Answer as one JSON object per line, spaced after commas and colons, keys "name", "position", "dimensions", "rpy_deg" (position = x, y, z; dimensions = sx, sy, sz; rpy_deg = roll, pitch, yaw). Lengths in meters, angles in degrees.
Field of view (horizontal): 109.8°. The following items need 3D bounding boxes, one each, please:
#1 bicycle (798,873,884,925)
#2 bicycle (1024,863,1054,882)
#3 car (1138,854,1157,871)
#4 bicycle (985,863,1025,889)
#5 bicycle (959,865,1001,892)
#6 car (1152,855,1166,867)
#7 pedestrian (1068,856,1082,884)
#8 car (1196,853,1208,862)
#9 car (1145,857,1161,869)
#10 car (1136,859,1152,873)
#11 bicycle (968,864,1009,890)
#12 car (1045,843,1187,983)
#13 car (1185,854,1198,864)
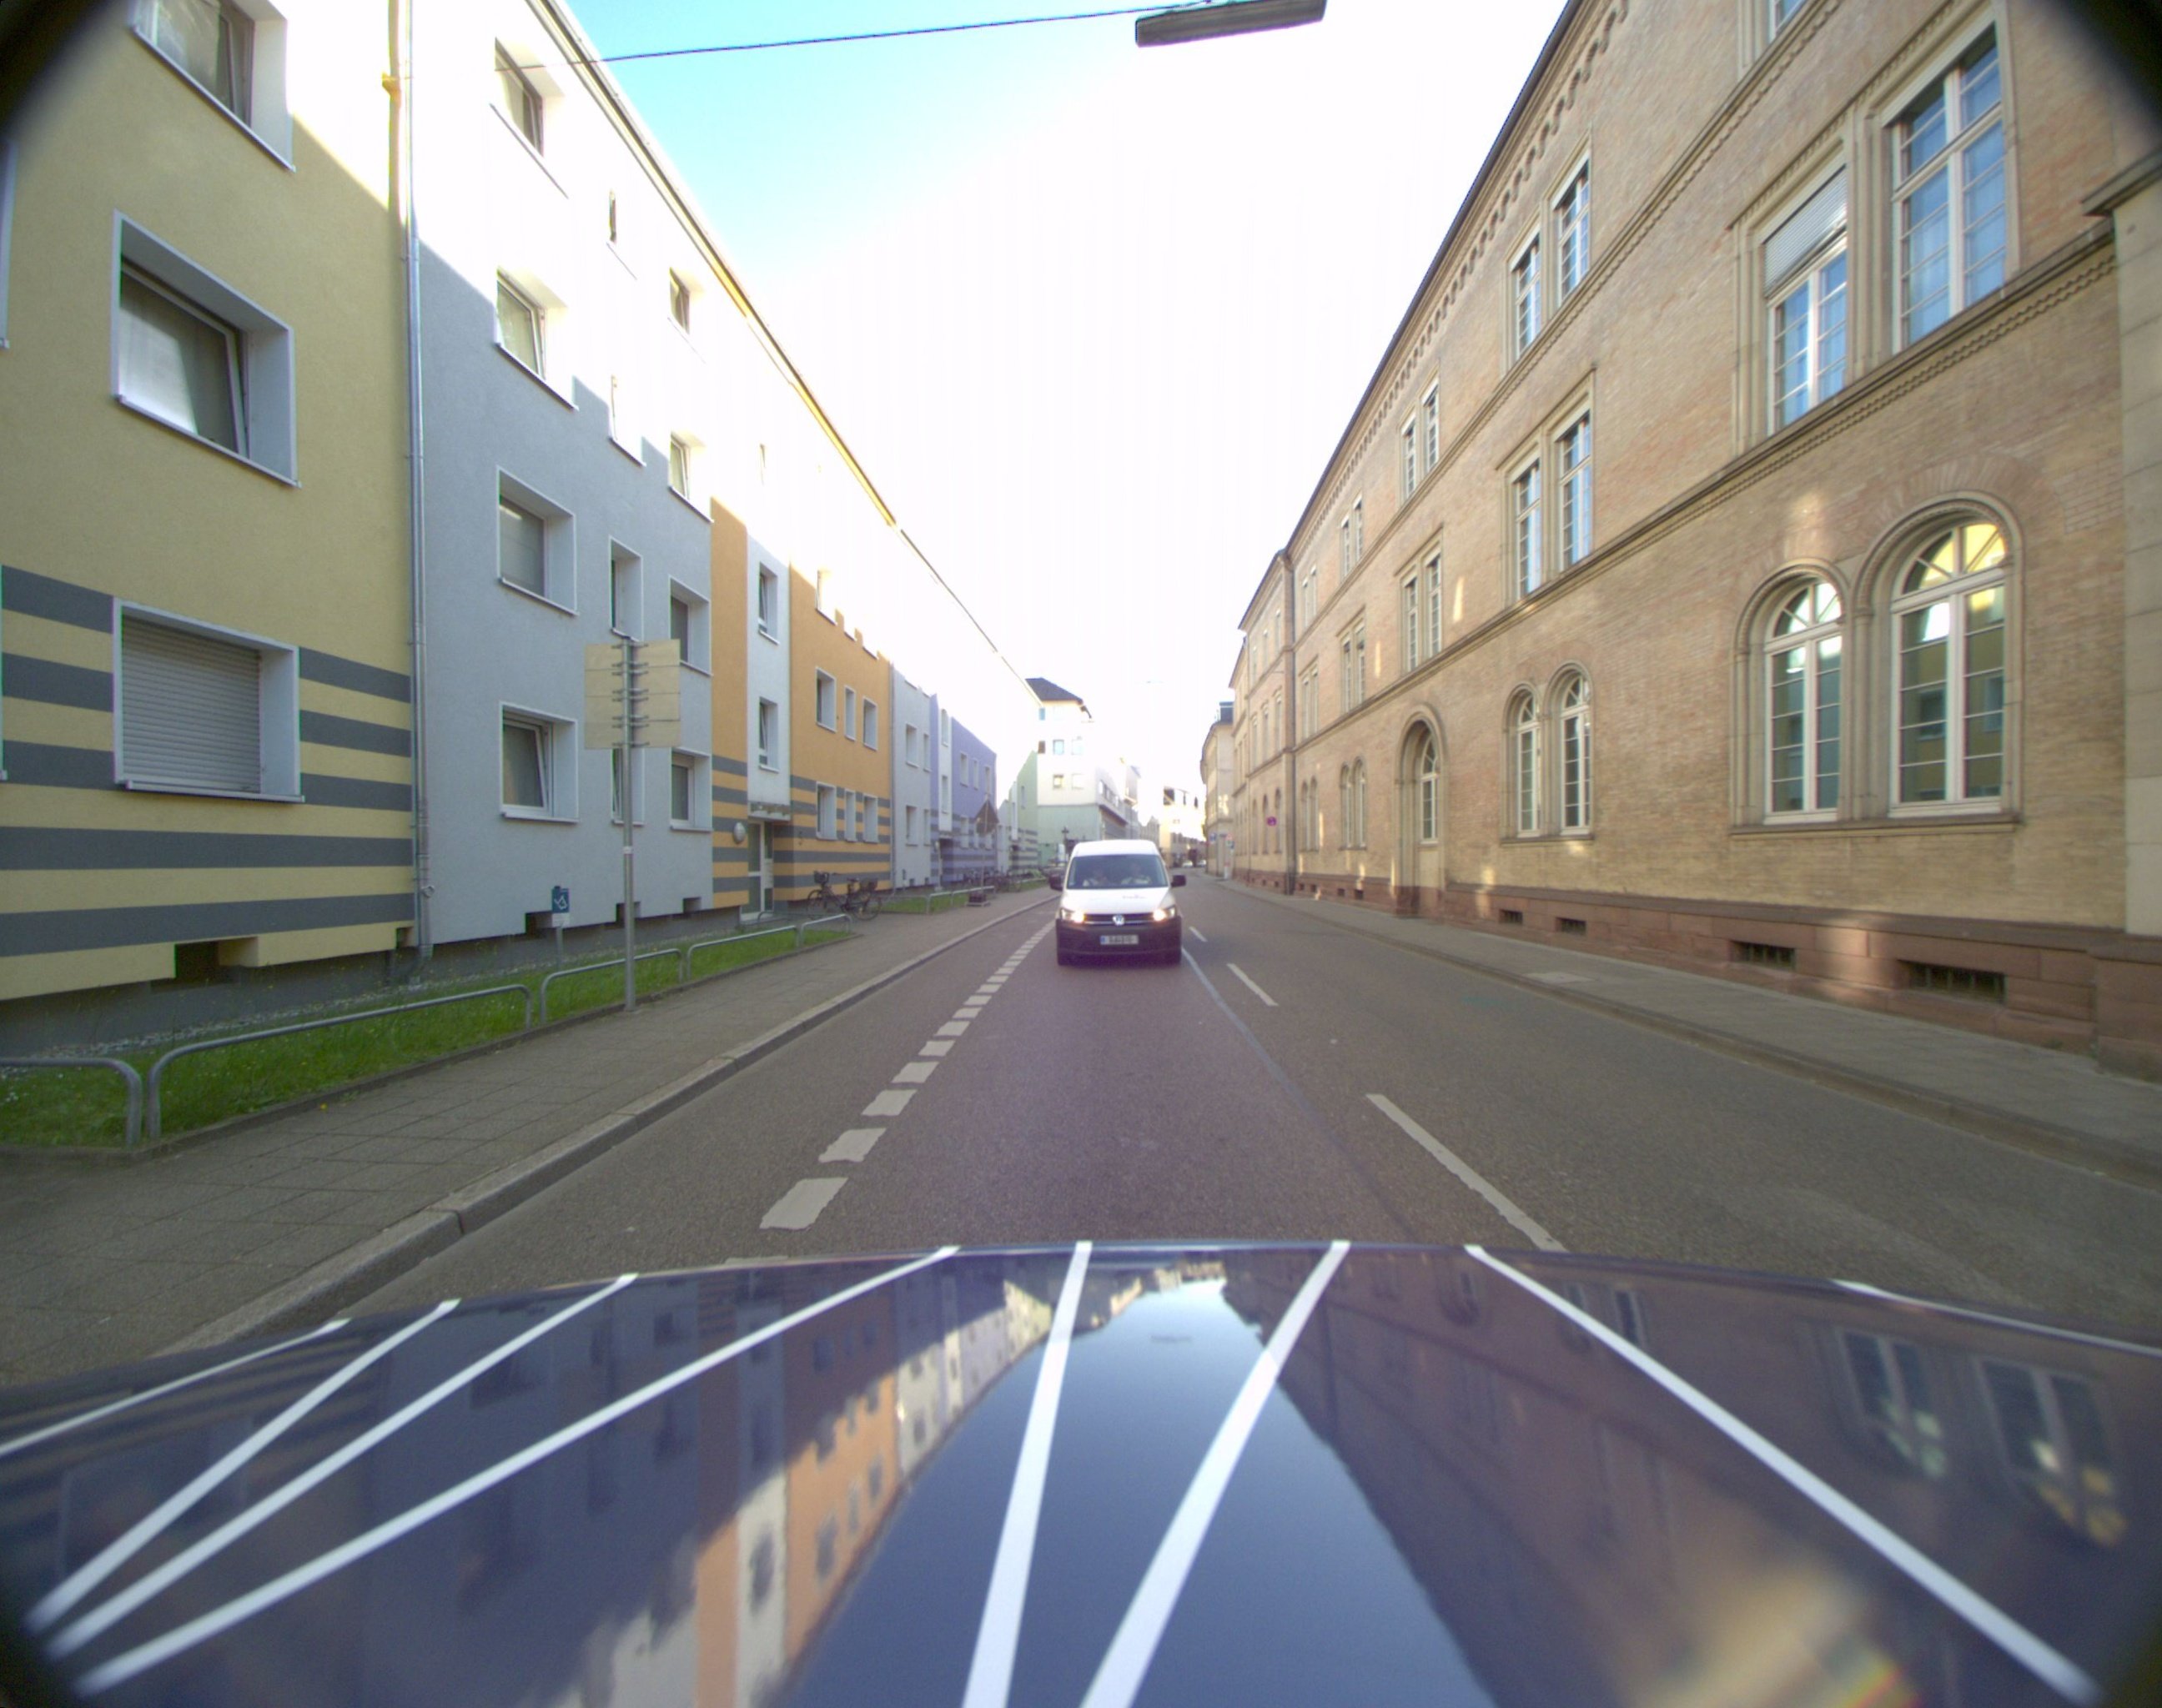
{"name": "bicycle", "position": [-5.384, 0.998, 17.120], "dimensions": [1.780, 1.116, 0.484], "rpy_deg": [0, 0, -5]}
{"name": "bicycle", "position": [-2.514, 1.123, 46.067], "dimensions": [1.779, 1.145, 0.484], "rpy_deg": [0, 0, 0]}
{"name": "car", "position": [9.417, 1.180, 107.103], "dimensions": [2.103, 2.264, 5.506], "rpy_deg": [-2, 1, 11]}
{"name": "bicycle", "position": [-3.371, 0.979, 33.695], "dimensions": [1.676, 1.145, 0.484], "rpy_deg": [0, 0, 4]}
{"name": "bicycle", "position": [-4.234, 1.024, 31.856], "dimensions": [1.676, 1.145, 0.484], "rpy_deg": [0, 0, 4]}
{"name": "car", "position": [12.651, 1.121, 122.714], "dimensions": [1.997, 1.643, 4.231], "rpy_deg": [-2, 1, 9]}
{"name": "pedestrian", "position": [-0.340, 0.938, 45.656], "dimensions": [0.705, 1.627, 0.833], "rpy_deg": [2, 2, 5]}
{"name": "car", "position": [26.097, 0.706, 163.766], "dimensions": [1.996, 1.643, 4.233], "rpy_deg": [-2, 1, 17]}
{"name": "car", "position": [10.681, 1.369, 113.016], "dimensions": [1.997, 1.643, 4.231], "rpy_deg": [-2, 1, 10]}
{"name": "car", "position": [8.382, 1.542, 100.968], "dimensions": [1.998, 1.643, 4.230], "rpy_deg": [-2, 1, 6]}
{"name": "bicycle", "position": [-4.030, 0.997, 33.150], "dimensions": [1.676, 1.145, 0.484], "rpy_deg": [0, 0, 4]}
{"name": "car", "position": [0.509, 0.716, 12.268], "dimensions": [1.769, 1.761, 5.331], "rpy_deg": [-1, 1, 1]}
{"name": "car", "position": [22.114, 0.997, 152.036], "dimensions": [1.996, 1.643, 4.233], "rpy_deg": [-2, 1, 17]}
